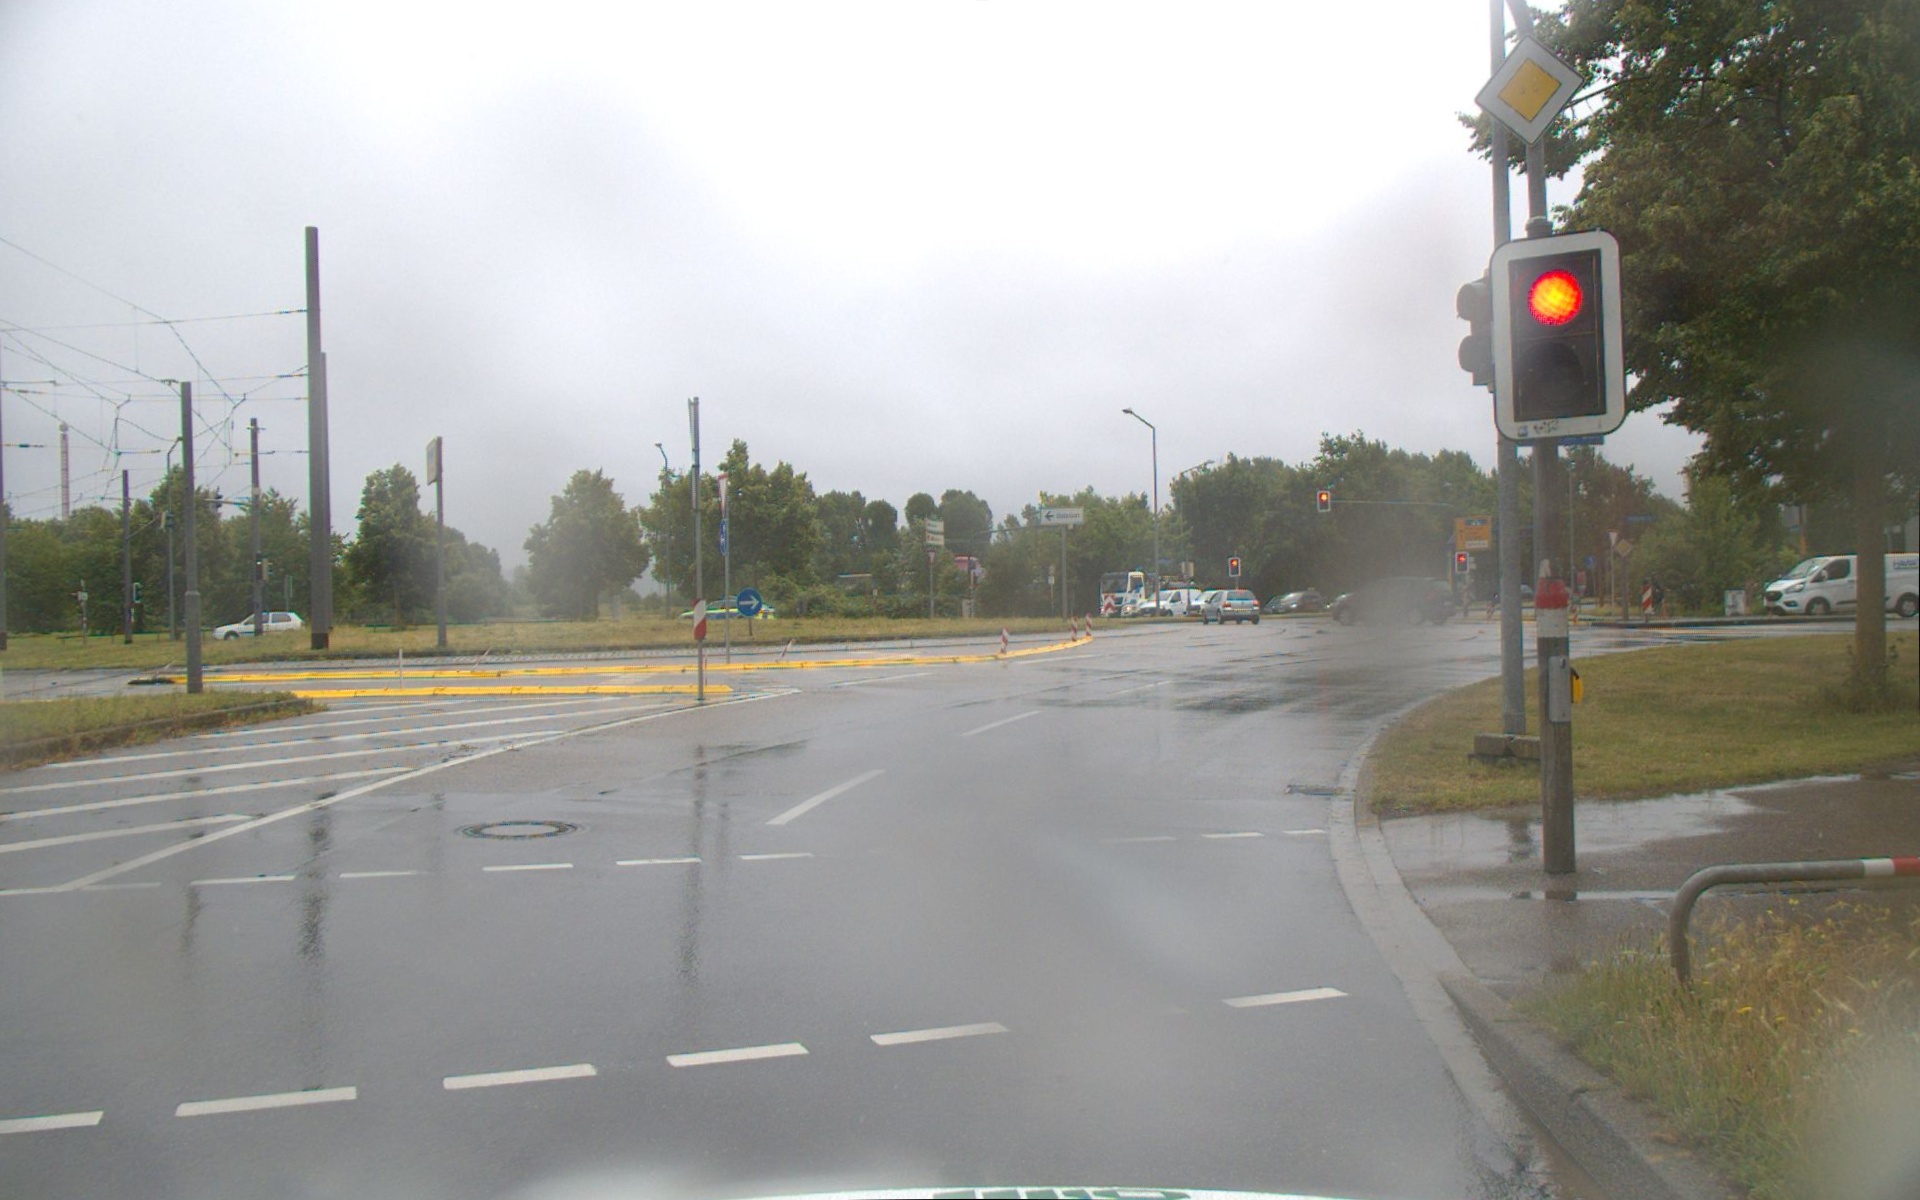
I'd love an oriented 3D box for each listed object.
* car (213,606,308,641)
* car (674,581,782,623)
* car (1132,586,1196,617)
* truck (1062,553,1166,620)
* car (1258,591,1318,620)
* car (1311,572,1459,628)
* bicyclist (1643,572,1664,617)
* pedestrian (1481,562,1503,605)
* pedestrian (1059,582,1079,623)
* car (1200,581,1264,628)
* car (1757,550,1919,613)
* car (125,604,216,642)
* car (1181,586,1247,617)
[{"bbox_3d":[-31.954,1.057,75.605,3.918,1.479,1.613,-1,0,-22],"label":"car"},{"bbox_3d":[-10.853,0.078,77.379,4.664,1.883,1.999,-1,0,23],"label":"car"},{"bbox_3d":[11.896,0.077,96.292,1.769,1.691,4.112,0,-1,40],"label":"car"},{"bbox_3d":[7.024,-0.545,74.181,2.411,2.733,8.058,1,-1,22],"label":"truck"},{"bbox_3d":[20.388,0.328,102.803,1.769,1.691,4.386,0,-1,40],"label":"car"},{"bbox_3d":[14.949,-0.008,58.275,4.685,1.884,1.990,0,-1,39],"label":"car"},{"bbox_3d":[27.704,-0.209,66.044,0.488,1.772,0.587,1,-1,-23],"label":"bicyclist"},{"bbox_3d":[23.844,-0.715,74.125,0.799,1.901,0.668,1,-1,7],"label":"pedestrian"},{"bbox_3d":[3.590,0.091,54.353,0.445,1.327,0.484,-1,0,38],"label":"pedestrian"},{"bbox_3d":[11.624,0.219,70.939,1.953,1.884,4.775,1,-1,0],"label":"car"},{"bbox_3d":[28.081,-0.570,52.439,4.662,1.884,2.000,1,-1,0],"label":"car"},{"bbox_3d":[-40.299,1.194,84.533,1.644,1.848,3.994,1,-1,28],"label":"car"},{"bbox_3d":[14.582,0.109,94.810,1.769,1.691,4.386,0,-1,40],"label":"car"}]
